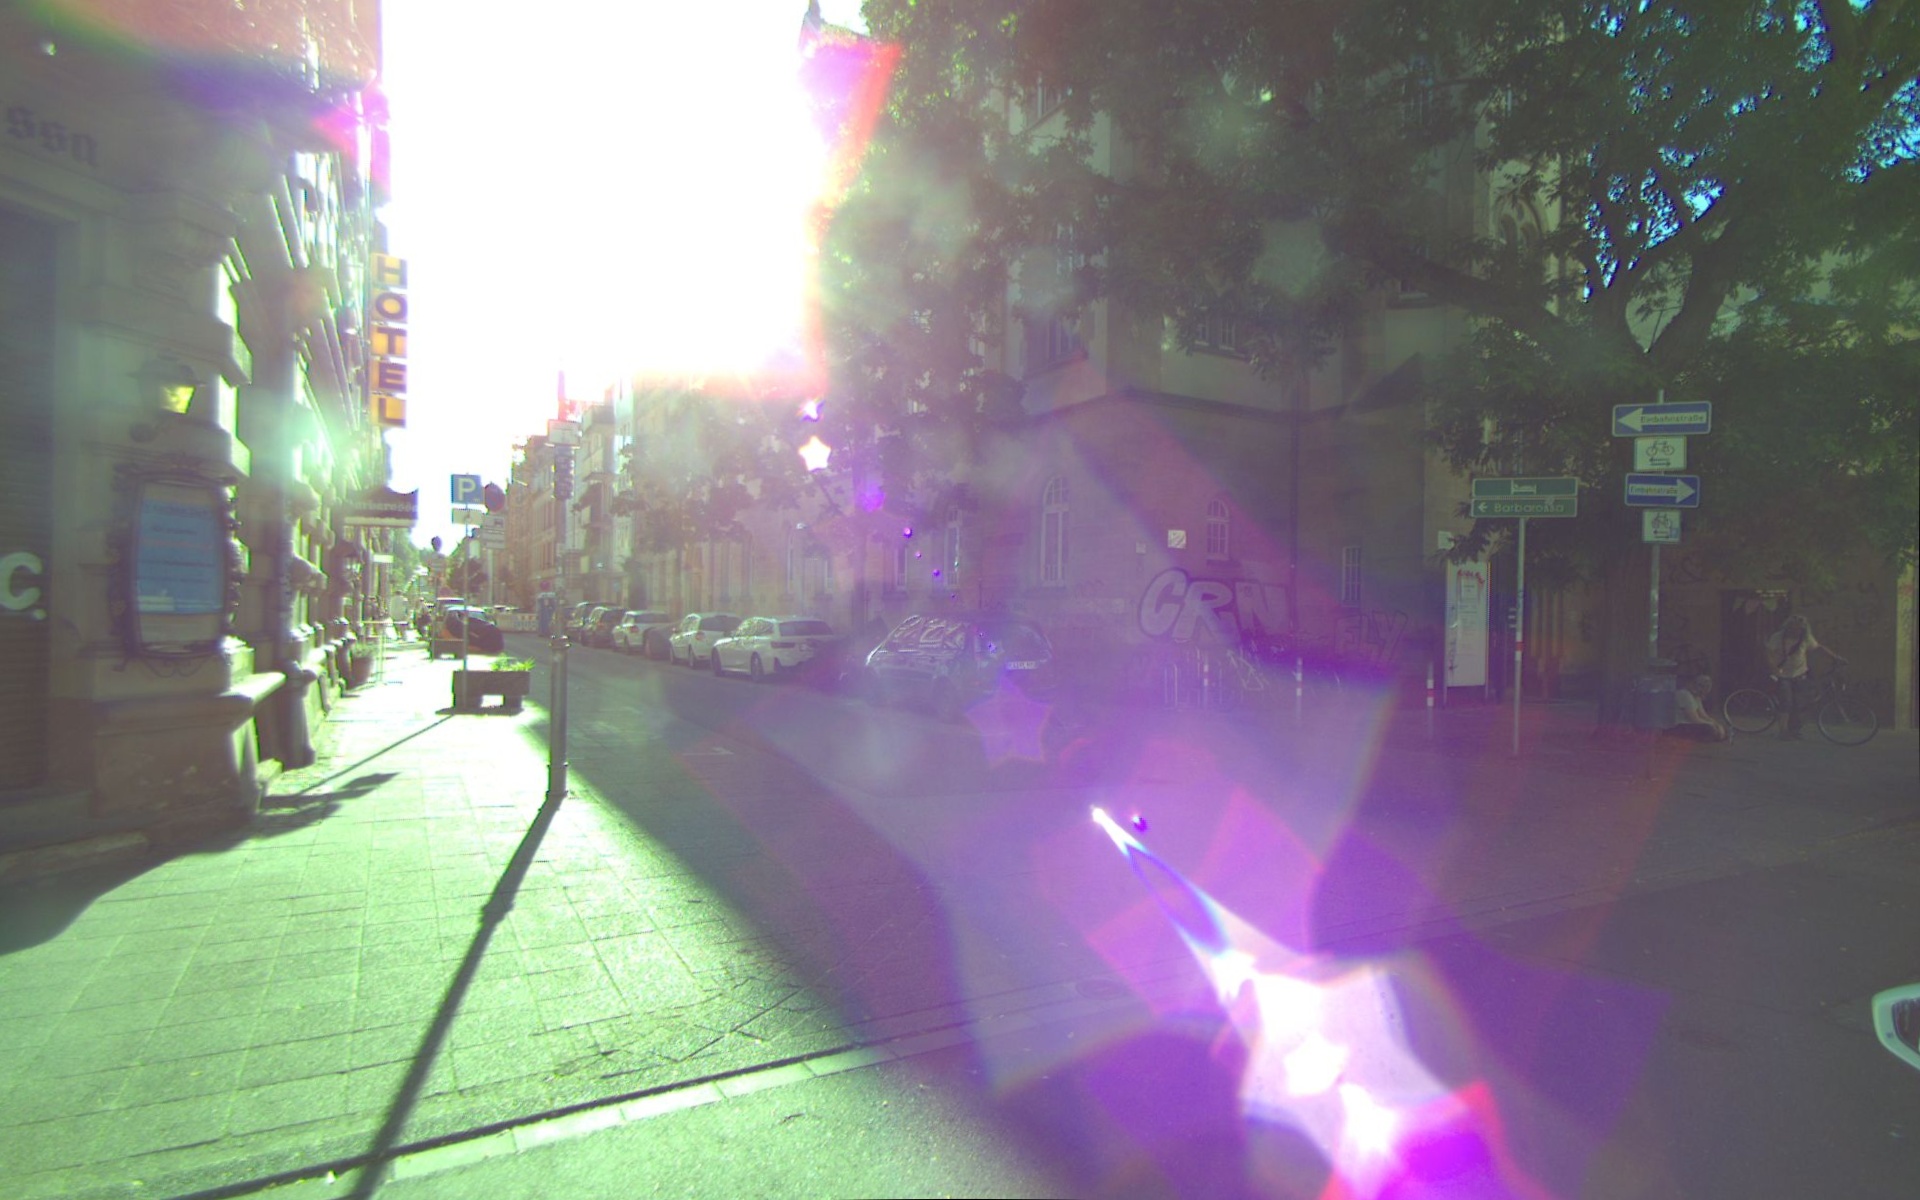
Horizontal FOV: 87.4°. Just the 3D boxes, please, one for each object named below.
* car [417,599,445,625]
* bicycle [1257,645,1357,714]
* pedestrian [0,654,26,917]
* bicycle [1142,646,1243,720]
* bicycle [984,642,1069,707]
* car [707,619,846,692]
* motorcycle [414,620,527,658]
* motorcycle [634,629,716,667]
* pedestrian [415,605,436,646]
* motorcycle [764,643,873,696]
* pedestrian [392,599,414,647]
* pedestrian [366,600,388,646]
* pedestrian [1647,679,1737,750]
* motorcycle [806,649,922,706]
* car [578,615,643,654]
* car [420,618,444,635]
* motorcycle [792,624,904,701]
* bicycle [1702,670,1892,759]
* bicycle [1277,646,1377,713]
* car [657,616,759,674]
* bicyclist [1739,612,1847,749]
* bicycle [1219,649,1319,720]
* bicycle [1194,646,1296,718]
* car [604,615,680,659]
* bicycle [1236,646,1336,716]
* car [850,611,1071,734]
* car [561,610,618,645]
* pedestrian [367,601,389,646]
[{"bbox_3d":[-46.752,1.043,88.790,2.029,2.132,4.605,1,0,-29],"label":"car"},{"bbox_3d":[5.946,1.338,17.323,0.473,1.068,1.767,1,-1,-30],"label":"bicycle"},{"bbox_3d":[-4.745,0.843,4.360,0.733,1.193,0.669,1,0,0],"label":"pedestrian"},{"bbox_3d":[3.715,1.301,16.160,0.527,1.068,1.767,1,-1,-30],"label":"bicycle"},{"bbox_3d":[1.193,1.345,18.592,0.527,1.068,2.063,1,-1,-30],"label":"bicycle"},{"bbox_3d":[-4.280,1.185,22.870,1.775,1.439,4.244,1,-1,-30],"label":"car"},{"bbox_3d":[-16.060,1.274,33.041,2.999,1.076,1.336,3,-2,-6],"label":"motorcycle"},{"bbox_3d":[-8.924,1.518,31.444,2.283,1.076,0.917,4,-2,-29],"label":"motorcycle"},{"bbox_3d":[-21.460,1.015,40.325,0.703,1.588,0.718,2,2,-30],"label":"pedestrian"},{"bbox_3d":[-2.857,1.391,20.349,2.080,1.004,0.656,2,-1,-31],"label":"motorcycle"},{"bbox_3d":[-21.781,0.897,39.292,0.703,1.782,0.718,2,2,-30],"label":"pedestrian"},{"bbox_3d":[-23.421,0.937,40.362,0.715,1.782,0.706,2,2,-29],"label":"pedestrian"},{"bbox_3d":[9.324,1.441,12.808,0.904,0.788,0.700,0,-1,37],"label":"pedestrian"},{"bbox_3d":[-1.756,1.408,18.542,2.080,0.988,0.566,2,-1,-31],"label":"motorcycle"},{"bbox_3d":[-14.026,1.356,40.174,1.711,1.439,3.890,1,-1,-30],"label":"car"},{"bbox_3d":[-39.949,2.002,75.971,1.369,1.178,3.297,1,-1,-33],"label":"car"},{"bbox_3d":[-2.172,1.210,19.674,2.080,1.439,0.656,1,-1,-31],"label":"motorcycle"},{"bbox_3d":[11.172,1.498,13.489,0.814,0.935,1.758,1,2,-21],"label":"bicycle"},{"bbox_3d":[6.409,1.361,17.609,0.473,1.068,1.767,1,-1,-30],"label":"bicycle"},{"bbox_3d":[-7.244,1.231,28.589,1.711,1.480,4.244,1,-1,-30],"label":"car"},{"bbox_3d":[11.182,1.056,13.502,0.682,1.746,0.803,1,2,-21],"label":"bicyclist"},{"bbox_3d":[5.170,1.386,16.905,0.473,1.068,1.767,1,-1,-30],"label":"bicycle"},{"bbox_3d":[4.684,1.332,16.620,0.527,1.068,1.767,1,-1,-30],"label":"bicycle"},{"bbox_3d":[-11.404,1.276,35.819,1.711,1.439,4.106,1,-1,-30],"label":"car"},{"bbox_3d":[5.507,1.346,17.048,0.473,1.068,1.767,1,-1,-30],"label":"bicycle"},{"bbox_3d":[-0.132,1.004,15.759,1.749,1.620,3.968,-1,0,-30],"label":"car"},{"bbox_3d":[-16.512,1.201,44.674,1.711,1.439,3.890,1,-1,-30],"label":"car"},{"bbox_3d":[-23.840,0.951,41.170,0.715,1.782,0.705,2,2,-29],"label":"pedestrian"}]
